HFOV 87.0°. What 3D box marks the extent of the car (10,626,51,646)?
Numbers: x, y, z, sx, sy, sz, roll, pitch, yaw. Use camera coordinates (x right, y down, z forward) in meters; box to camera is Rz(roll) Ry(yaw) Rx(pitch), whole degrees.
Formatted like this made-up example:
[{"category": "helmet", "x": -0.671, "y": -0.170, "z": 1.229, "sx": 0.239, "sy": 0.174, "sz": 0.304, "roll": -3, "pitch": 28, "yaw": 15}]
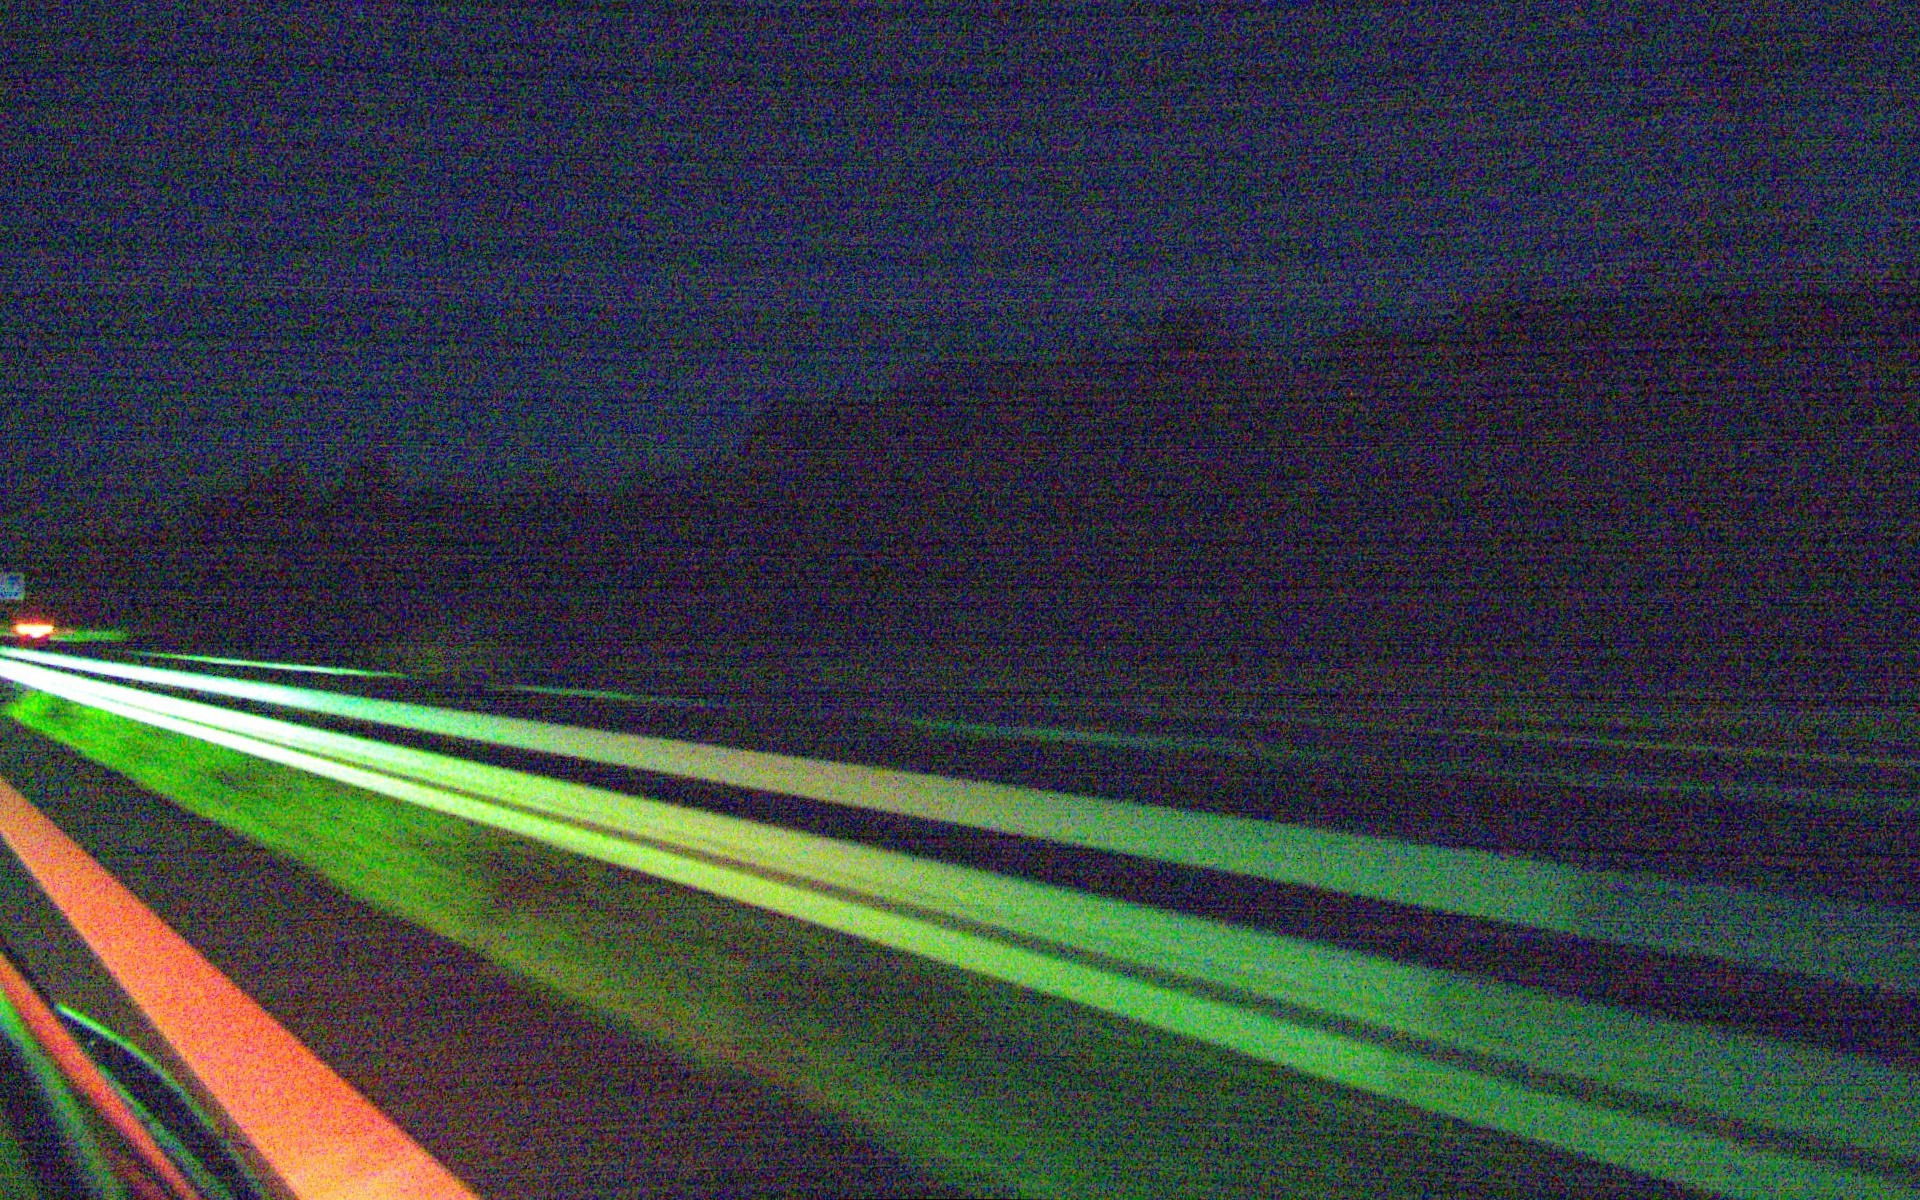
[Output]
[{"category": "car", "x": -80.828, "y": 3.166, "z": 87.948, "sx": 5.071, "sy": 1.651, "sz": 1.973, "roll": -2, "pitch": -5, "yaw": 41}]
